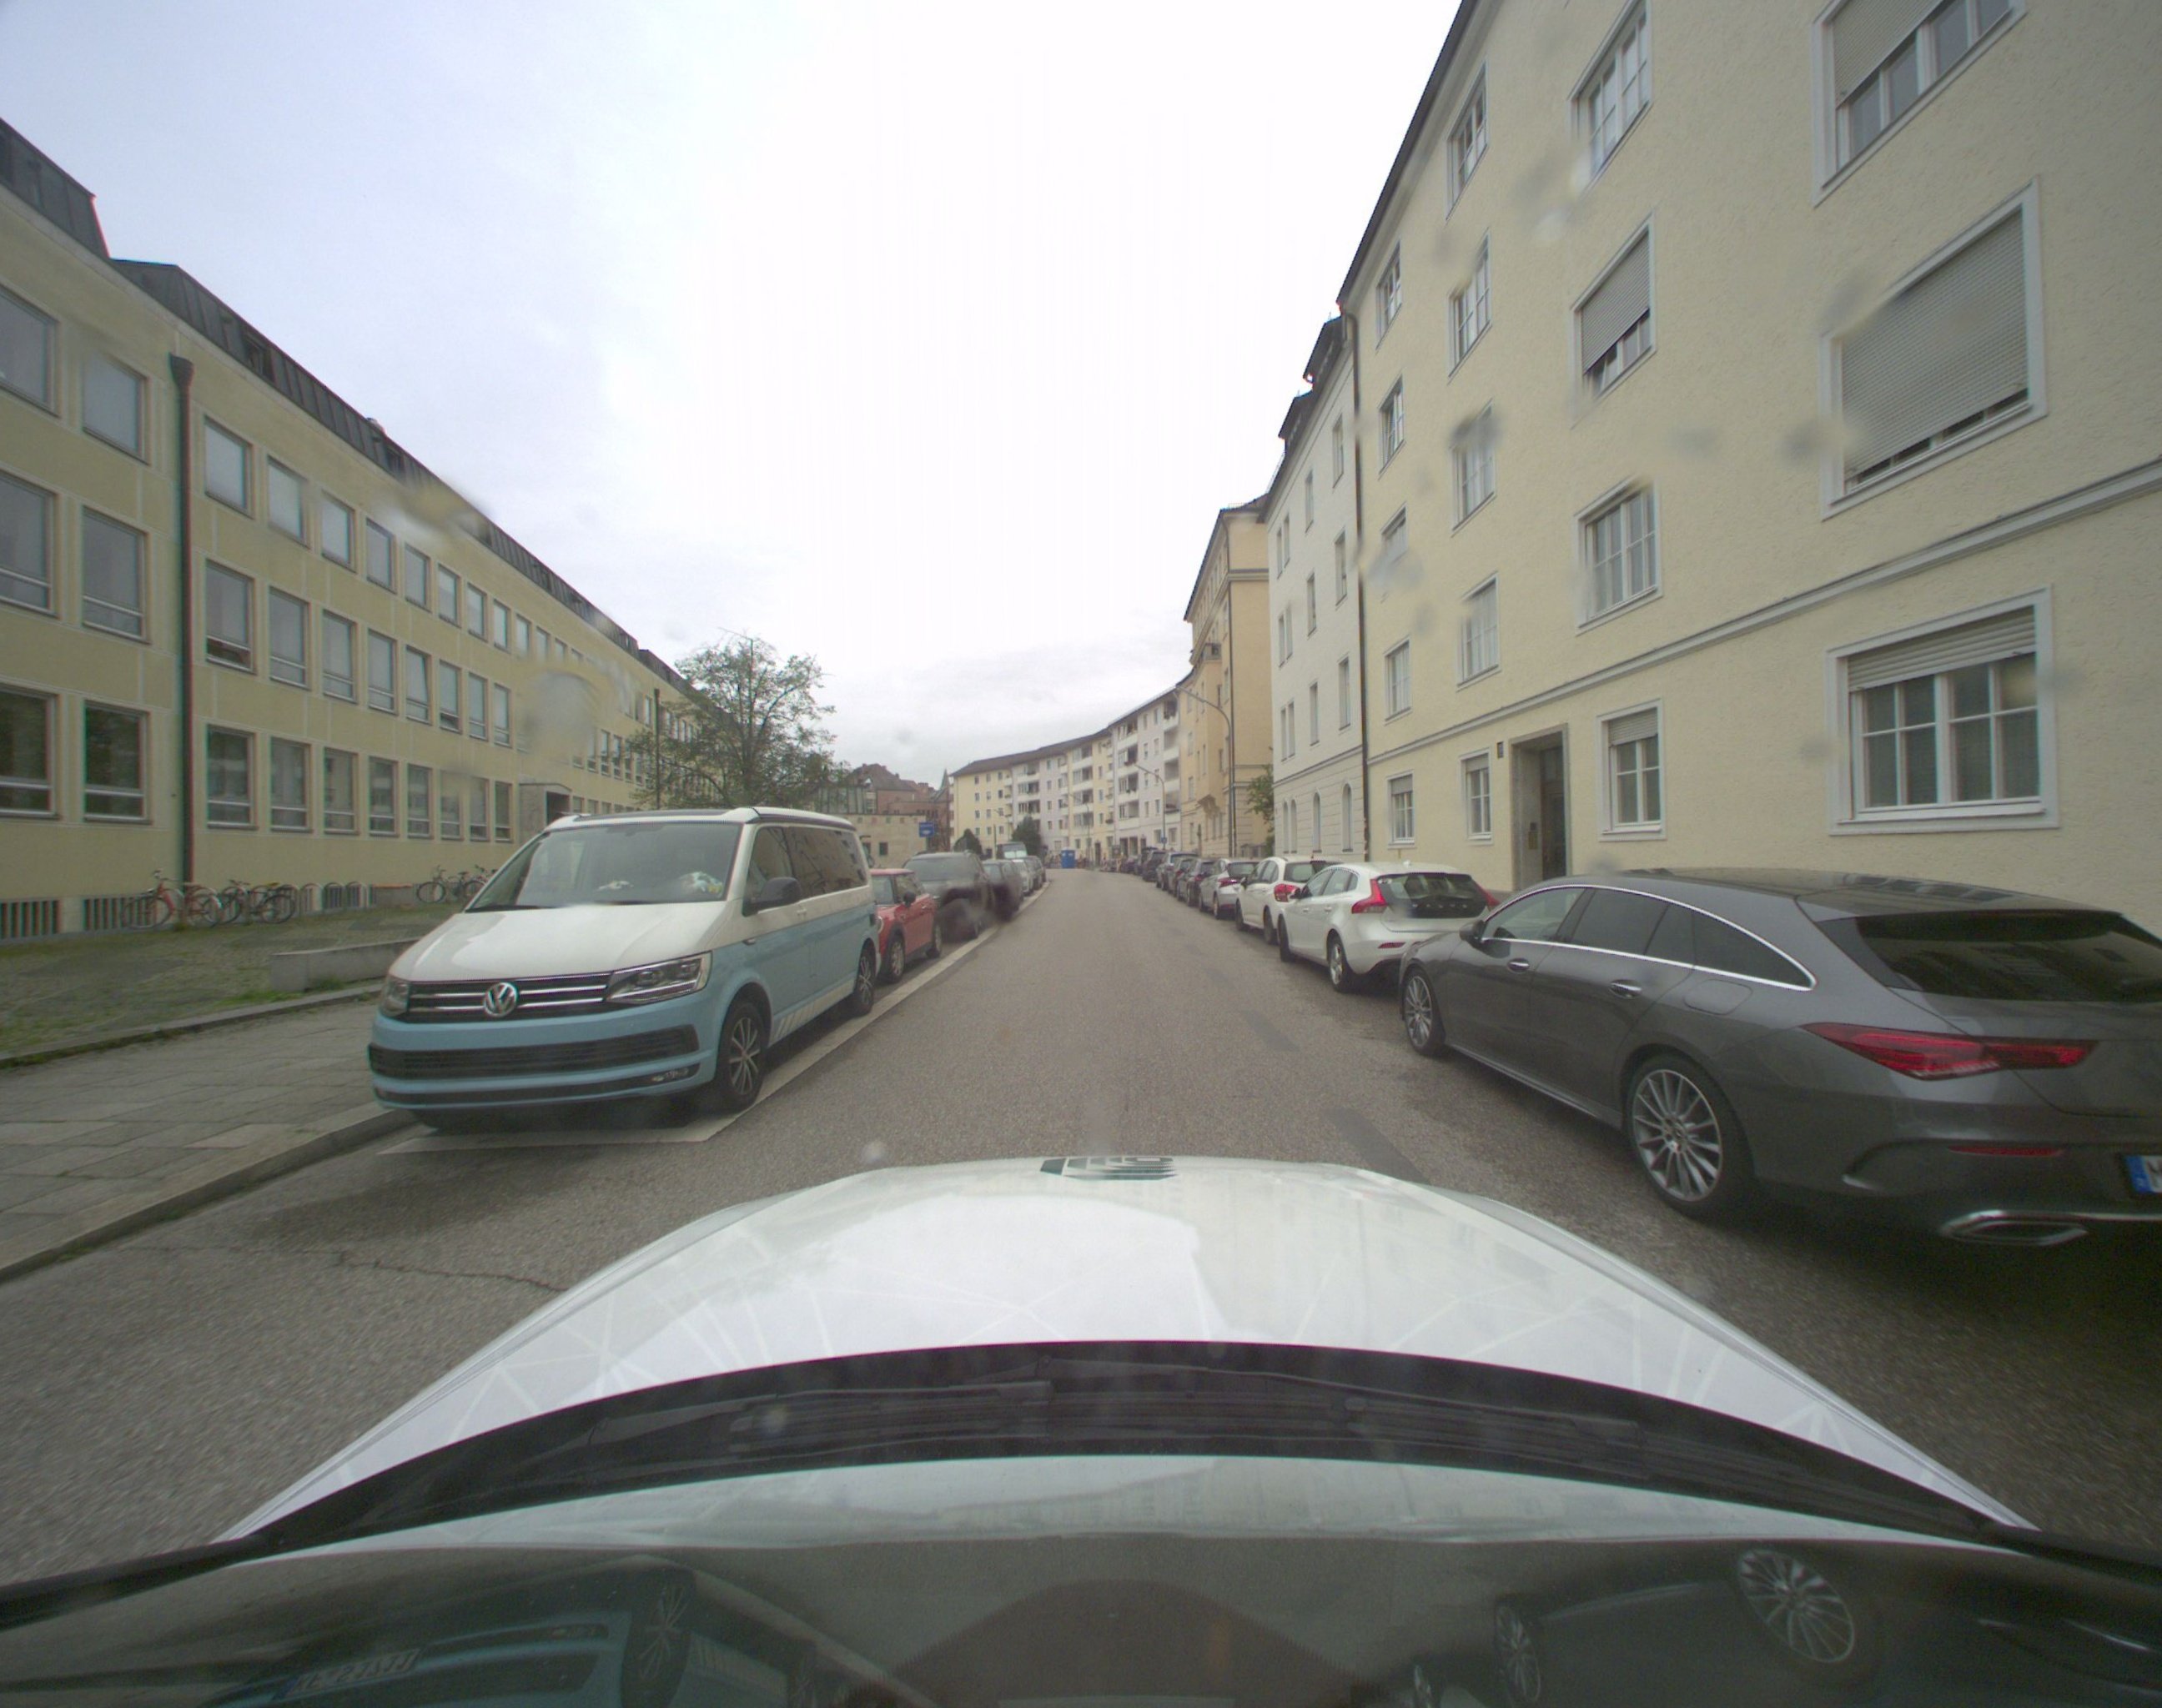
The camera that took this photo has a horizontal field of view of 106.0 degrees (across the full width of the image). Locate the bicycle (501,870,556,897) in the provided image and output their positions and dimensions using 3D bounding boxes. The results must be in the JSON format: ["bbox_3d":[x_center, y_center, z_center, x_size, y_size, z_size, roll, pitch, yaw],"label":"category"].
[{"bbox_3d":[-20.380,1.077,30.081,1.610,0.945,0.499,1,0,-23],"label":"bicycle"}]

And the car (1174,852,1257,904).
[{"bbox_3d":[4.055,0.663,25.309,1.869,1.450,4.678,0,0,1],"label":"car"}]

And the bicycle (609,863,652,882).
[{"bbox_3d":[-22.619,0.906,40.922,1.862,0.945,0.412,0,0,-18],"label":"bicycle"}]

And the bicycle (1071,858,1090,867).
[{"bbox_3d":[-0.026,1.081,102.531,2.242,1.069,0.912,-1,0,-23],"label":"bicycle"}]

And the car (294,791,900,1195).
[{"bbox_3d":[-3.006,0.682,6.628,1.909,1.960,4.960,-3,0,-1],"label":"car"}]

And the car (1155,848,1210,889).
[{"bbox_3d":[4.319,0.569,35.328,1.840,1.663,4.497,0,0,0],"label":"car"}]

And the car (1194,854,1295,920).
[{"bbox_3d":[3.991,0.757,20.521,1.719,1.450,4.187,0,0,0],"label":"car"}]

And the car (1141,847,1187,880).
[{"bbox_3d":[4.583,0.509,45.592,2.162,1.739,5.025,0,0,1],"label":"car"}]

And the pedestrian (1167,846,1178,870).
[{"bbox_3d":[6.809,0.308,60.473,0.615,1.690,0.919,-4,-1,1],"label":"pedestrian"}]

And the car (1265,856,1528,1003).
[{"bbox_3d":[3.638,0.764,10.286,1.719,1.429,4.294,0,0,1],"label":"car"}]

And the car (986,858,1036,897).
[{"bbox_3d":[-2.776,0.881,32.989,1.736,1.422,4.292,0,0,-1],"label":"car"}]

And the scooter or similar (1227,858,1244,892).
[{"bbox_3d":[5.620,0.752,29.634,0.425,1.230,1.048,0,0,1],"label":"scooter or similar"}]

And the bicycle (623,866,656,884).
[{"bbox_3d":[-22.922,1.087,42.298,1.412,0.945,0.411,1,0,-23],"label":"bicycle"}]

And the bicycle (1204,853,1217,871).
[{"bbox_3d":[7.934,0.499,50.039,0.500,1.049,2.139,-4,0,3],"label":"bicycle"}]

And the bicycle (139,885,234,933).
[{"bbox_3d":[-18.052,1.102,16.443,1.403,0.945,0.414,0,0,-2],"label":"bicycle"}]

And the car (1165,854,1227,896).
[{"bbox_3d":[4.221,0.732,30.465,1.821,1.450,4.085,0,0,1],"label":"car"}]

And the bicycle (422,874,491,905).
[{"bbox_3d":[-19.552,1.108,25.519,1.608,0.945,0.500,0,0,-18],"label":"bicycle"}]

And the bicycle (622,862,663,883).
[{"bbox_3d":[-23.509,0.989,43.688,1.849,1.096,0.699,0,0,-16],"label":"bicycle"}]

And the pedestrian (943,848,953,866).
[{"bbox_3d":[-13.367,0.291,81.897,0.847,1.866,0.708,0,0,-27],"label":"pedestrian"}]

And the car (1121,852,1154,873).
[{"bbox_3d":[4.250,0.608,62.079,1.904,1.477,4.941,0,0,-3],"label":"car"}]

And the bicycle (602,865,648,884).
[{"bbox_3d":[-22.570,1.007,40.309,1.953,0.945,0.413,0,0,-12],"label":"bicycle"}]

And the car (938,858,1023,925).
[{"bbox_3d":[-2.576,0.917,21.747,1.625,1.494,3.821,-3,0,1],"label":"car"}]

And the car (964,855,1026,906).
[{"bbox_3d":[-2.757,0.812,26.817,1.626,1.494,4.099,0,0,-1],"label":"car"}]

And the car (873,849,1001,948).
[{"bbox_3d":[-2.765,0.781,16.589,1.708,1.689,4.142,-3,0,1],"label":"car"}]

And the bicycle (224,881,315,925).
[{"bbox_3d":[-17.844,1.073,17.931,1.407,0.945,0.413,0,0,-12],"label":"bicycle"}]

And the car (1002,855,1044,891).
[{"bbox_3d":[-2.645,0.842,38.081,1.626,1.494,4.274,-3,0,-1],"label":"car"}]

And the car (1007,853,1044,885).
[{"bbox_3d":[-2.860,0.752,42.676,1.626,1.494,3.602,-3,0,-1],"label":"car"}]

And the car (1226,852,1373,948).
[{"bbox_3d":[3.901,0.741,15.195,1.646,1.543,3.992,0,0,-1],"label":"car"}]

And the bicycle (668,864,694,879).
[{"bbox_3d":[-25.228,1.078,51.373,1.409,0.945,0.412,0,0,-16],"label":"bicycle"}]

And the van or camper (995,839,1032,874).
[{"bbox_3d":[-5.317,0.192,63.181,2.297,2.581,6.064,0,0,-10],"label":"van or camper"}]

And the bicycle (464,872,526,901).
[{"bbox_3d":[-19.952,1.094,27.746,1.608,0.945,0.500,0,0,-18],"label":"bicycle"}]

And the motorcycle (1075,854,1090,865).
[{"bbox_3d":[0.169,0.598,94.510,0.936,1.221,2.488,0,0,-23],"label":"motorcycle"}]

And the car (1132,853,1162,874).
[{"bbox_3d":[4.499,0.625,55.807,1.626,1.417,3.677,0,0,-2],"label":"car"}]

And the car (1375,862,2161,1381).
[{"bbox_3d":[3.365,0.796,4.664,1.767,1.429,4.616,0,0,1],"label":"car"}]

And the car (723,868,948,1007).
[{"bbox_3d":[-3.107,0.983,11.165,1.798,1.406,3.710,-3,0,1],"label":"car"}]

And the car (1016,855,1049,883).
[{"bbox_3d":[-2.869,0.851,47.921,1.770,1.465,4.460,-3,0,-4],"label":"car"}]
